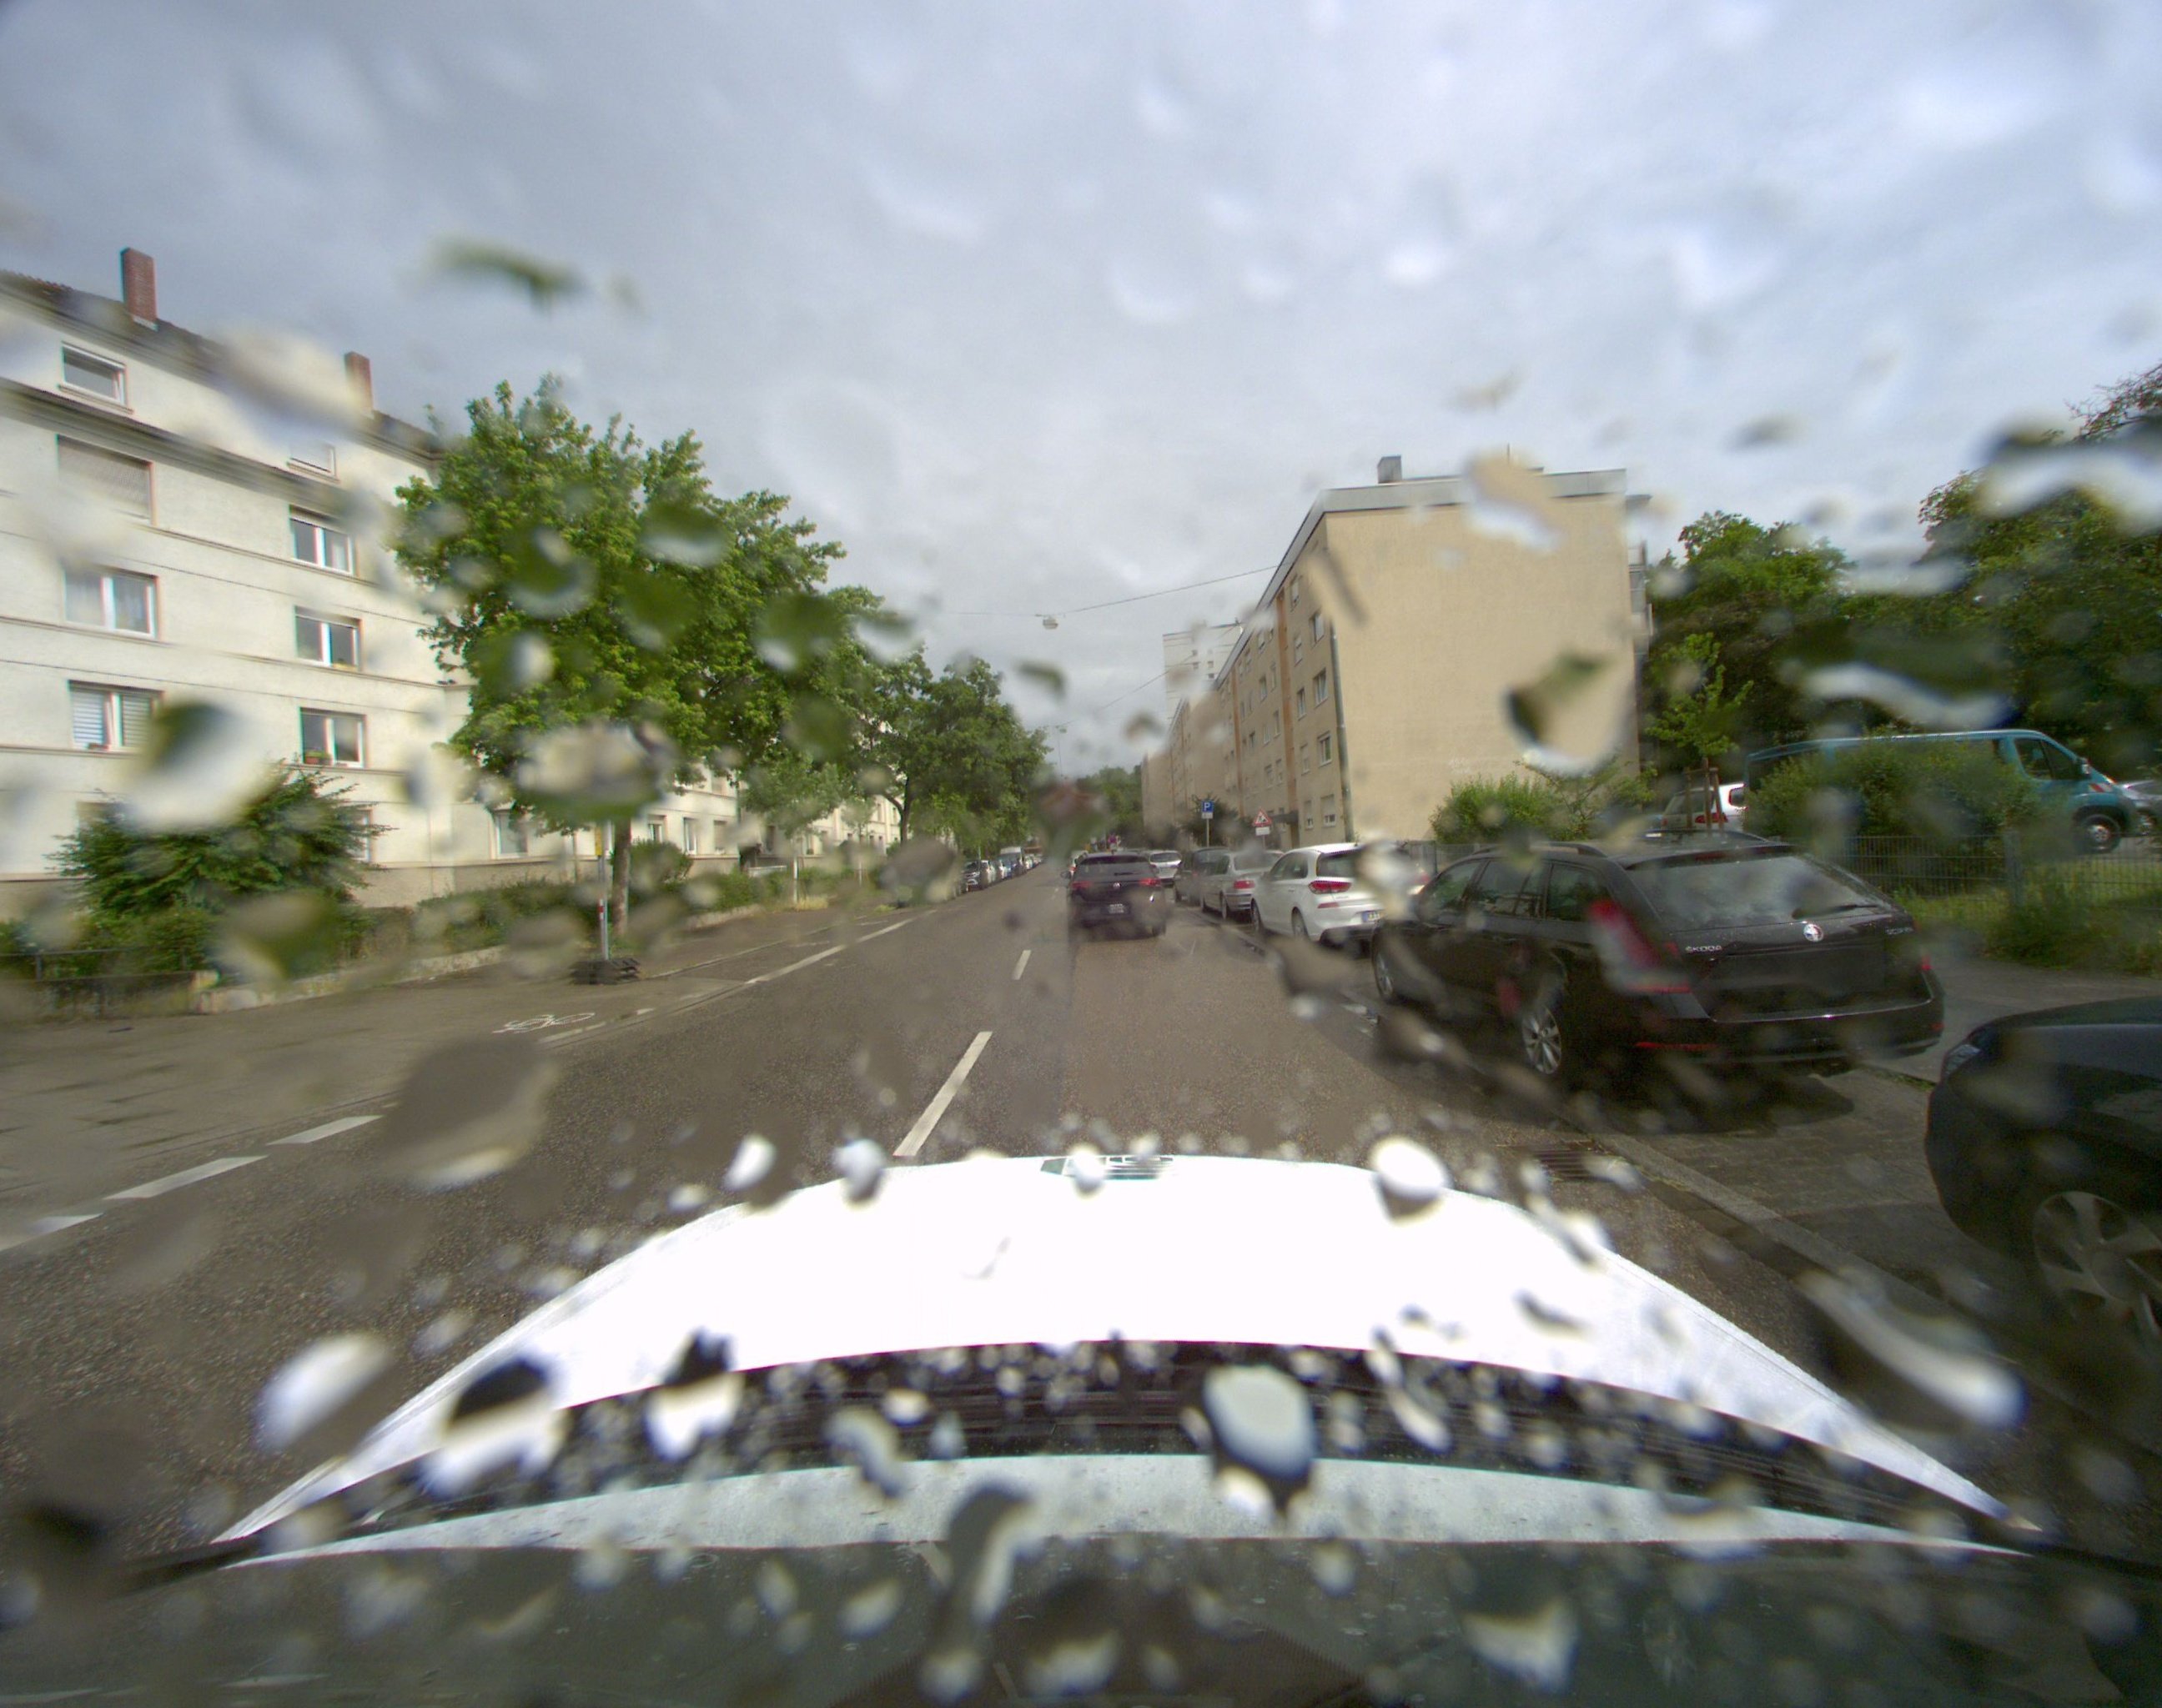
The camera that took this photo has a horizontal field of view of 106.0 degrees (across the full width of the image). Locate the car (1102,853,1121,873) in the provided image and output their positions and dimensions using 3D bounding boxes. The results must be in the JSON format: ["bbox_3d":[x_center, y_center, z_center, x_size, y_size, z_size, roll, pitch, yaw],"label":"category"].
[{"bbox_3d":[2.985,0.895,80.655,1.600,1.765,4.030,-5,0,-1],"label":"car"}]

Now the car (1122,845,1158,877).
[{"bbox_3d":[3.414,0.387,47.629,1.600,1.672,4.030,-5,0,-1],"label":"car"}]

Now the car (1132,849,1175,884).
[{"bbox_3d":[3.482,0.588,39.690,1.600,1.505,4.030,-5,0,-1],"label":"car"}]

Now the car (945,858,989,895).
[{"bbox_3d":[-5.540,1.049,39.940,1.582,1.576,4.011,-5,0,-2],"label":"car"}]

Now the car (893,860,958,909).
[{"bbox_3d":[-5.580,1.045,29.683,1.582,1.505,4.062,-5,0,-2],"label":"car"}]

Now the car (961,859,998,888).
[{"bbox_3d":[-5.581,1.028,45.154,1.582,1.418,3.918,-5,0,-2],"label":"car"}]

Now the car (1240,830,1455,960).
[{"bbox_3d":[3.699,0.578,12.133,1.744,1.508,4.109,-3,-2,-1],"label":"car"}]

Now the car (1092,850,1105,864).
[{"bbox_3d":[2.463,0.389,113.210,1.660,1.837,4.001,-4,0,1],"label":"car"}]

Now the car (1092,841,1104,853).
[{"bbox_3d":[2.733,-1.125,131.603,1.660,1.837,4.001,-4,0,1],"label":"car"}]

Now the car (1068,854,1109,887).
[{"bbox_3d":[0.410,0.778,40.132,1.806,1.503,4.003,-1,-1,3],"label":"car"}]

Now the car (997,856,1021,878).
[{"bbox_3d":[-5.759,1.025,65.508,1.582,1.639,3.918,-5,0,-2],"label":"car"}]

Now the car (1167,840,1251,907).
[{"bbox_3d":[3.510,0.493,22.934,1.600,1.661,4.030,-2,0,-2],"label":"car"}]

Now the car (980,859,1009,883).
[{"bbox_3d":[-5.853,1.118,55.455,1.582,1.418,3.918,-5,0,-2],"label":"car"}]

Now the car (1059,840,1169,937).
[{"bbox_3d":[0.670,0.605,16.150,1.865,1.645,4.065,-2,0,3],"label":"car"}]

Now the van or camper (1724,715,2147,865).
[{"bbox_3d":[14.760,-1.040,14.410,4.735,2.131,2.326,-3,0,6],"label":"van or camper"}]

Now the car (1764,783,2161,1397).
[{"bbox_3d":[3.555,0.526,1.100,1.752,1.527,3.997,-4,0,-2],"label":"car"}]

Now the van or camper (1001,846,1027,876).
[{"bbox_3d":[-5.929,0.610,72.223,1.798,2.493,5.017,-5,0,-1],"label":"van or camper"}]

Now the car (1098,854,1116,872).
[{"bbox_3d":[2.781,0.938,86.742,1.600,1.765,4.030,-5,0,-1],"label":"car"}]

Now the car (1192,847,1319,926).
[{"bbox_3d":[3.620,0.631,17.680,1.711,1.452,4.256,-2,0,-2],"label":"car"}]

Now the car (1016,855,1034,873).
[{"bbox_3d":[-5.904,1.038,85.708,1.582,1.639,3.918,-5,0,-2],"label":"car"}]

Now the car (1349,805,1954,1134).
[{"bbox_3d":[3.562,0.601,6.190,1.599,1.508,4.160,-6,-1,1],"label":"car"}]

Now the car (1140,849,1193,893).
[{"bbox_3d":[3.451,0.659,33.467,1.690,1.538,4.032,-5,0,0],"label":"car"}]

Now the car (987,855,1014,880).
[{"bbox_3d":[-5.871,0.959,59.967,1.582,1.639,3.918,-5,0,-2],"label":"car"}]

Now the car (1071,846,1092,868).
[{"bbox_3d":[0.055,0.298,80.420,1.829,2.103,4.001,-1,-1,2],"label":"car"}]

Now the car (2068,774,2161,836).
[{"bbox_3d":[28.892,-1.382,21.175,4.080,1.486,1.642,-4,0,6],"label":"car"}]

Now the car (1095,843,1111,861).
[{"bbox_3d":[2.479,-0.243,93.847,1.660,1.837,4.001,-4,0,1],"label":"car"}]

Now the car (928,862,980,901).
[{"bbox_3d":[-5.459,1.153,35.371,1.582,1.418,4.050,-5,0,-2],"label":"car"}]
